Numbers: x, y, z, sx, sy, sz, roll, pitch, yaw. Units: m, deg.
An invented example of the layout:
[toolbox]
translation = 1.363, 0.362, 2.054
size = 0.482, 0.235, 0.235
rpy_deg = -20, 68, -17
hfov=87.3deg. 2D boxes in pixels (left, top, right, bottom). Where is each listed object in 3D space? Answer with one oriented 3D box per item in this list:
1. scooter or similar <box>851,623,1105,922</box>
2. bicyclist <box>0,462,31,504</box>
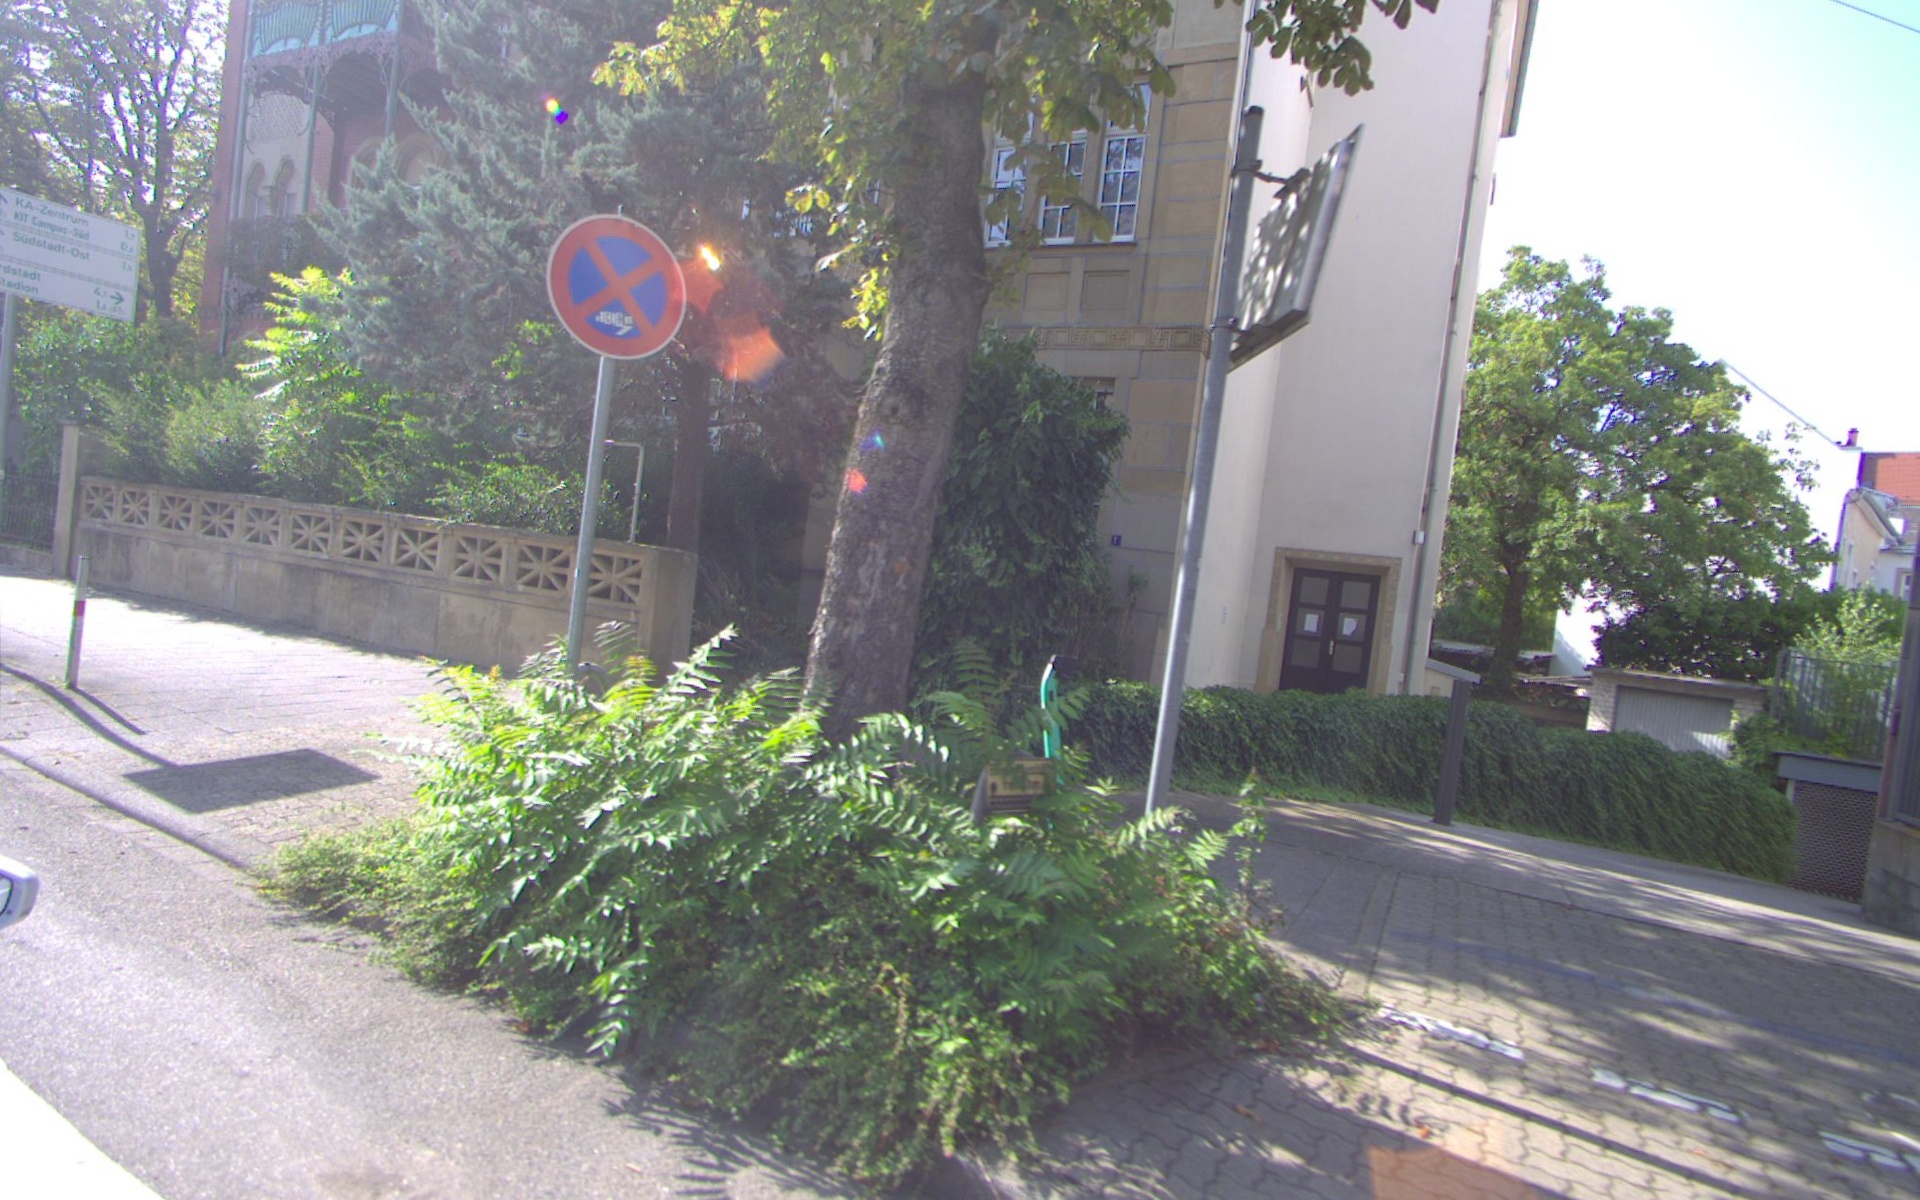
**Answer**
[scooter or similar]
translation = 0.080, 0.782, 4.954
size = 1.017, 1.214, 0.557
rpy_deg = 7, 5, 31
[bicyclist]
translation = -45.919, -5.665, 48.837
size = 0.974, 1.881, 0.491
rpy_deg = 6, 2, -15
